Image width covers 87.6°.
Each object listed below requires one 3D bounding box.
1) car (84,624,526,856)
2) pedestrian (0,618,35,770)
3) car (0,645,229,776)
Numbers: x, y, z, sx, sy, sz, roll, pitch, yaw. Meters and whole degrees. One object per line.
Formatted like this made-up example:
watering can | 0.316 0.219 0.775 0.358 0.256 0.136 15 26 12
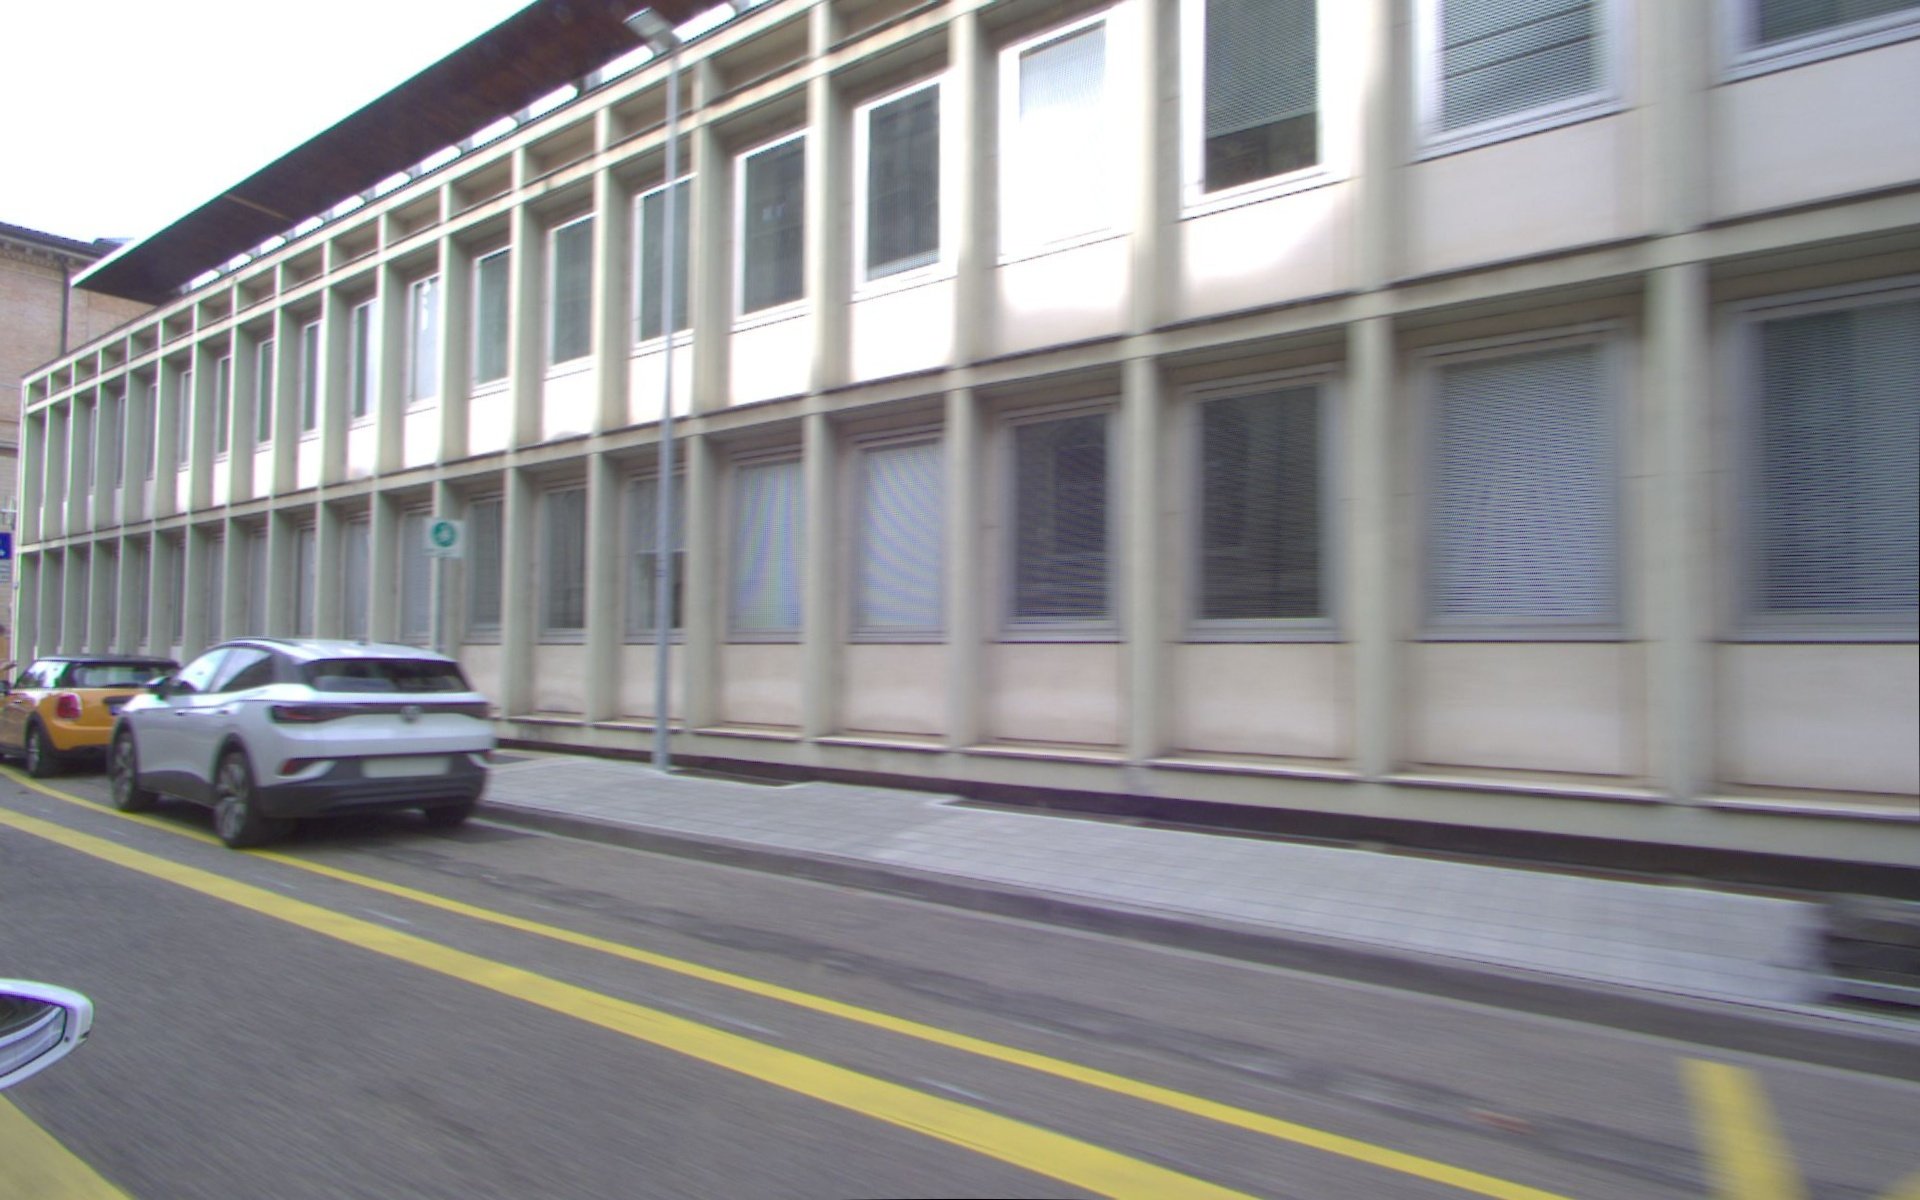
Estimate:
car | -6.091 1.139 9.143 4.454 1.623 1.857 -2 -7 36
pedestrian | -11.596 1.118 11.945 0.697 1.785 0.695 -2 -3 40
car | -11.156 1.334 12.921 3.837 1.452 1.676 -2 -5 36
